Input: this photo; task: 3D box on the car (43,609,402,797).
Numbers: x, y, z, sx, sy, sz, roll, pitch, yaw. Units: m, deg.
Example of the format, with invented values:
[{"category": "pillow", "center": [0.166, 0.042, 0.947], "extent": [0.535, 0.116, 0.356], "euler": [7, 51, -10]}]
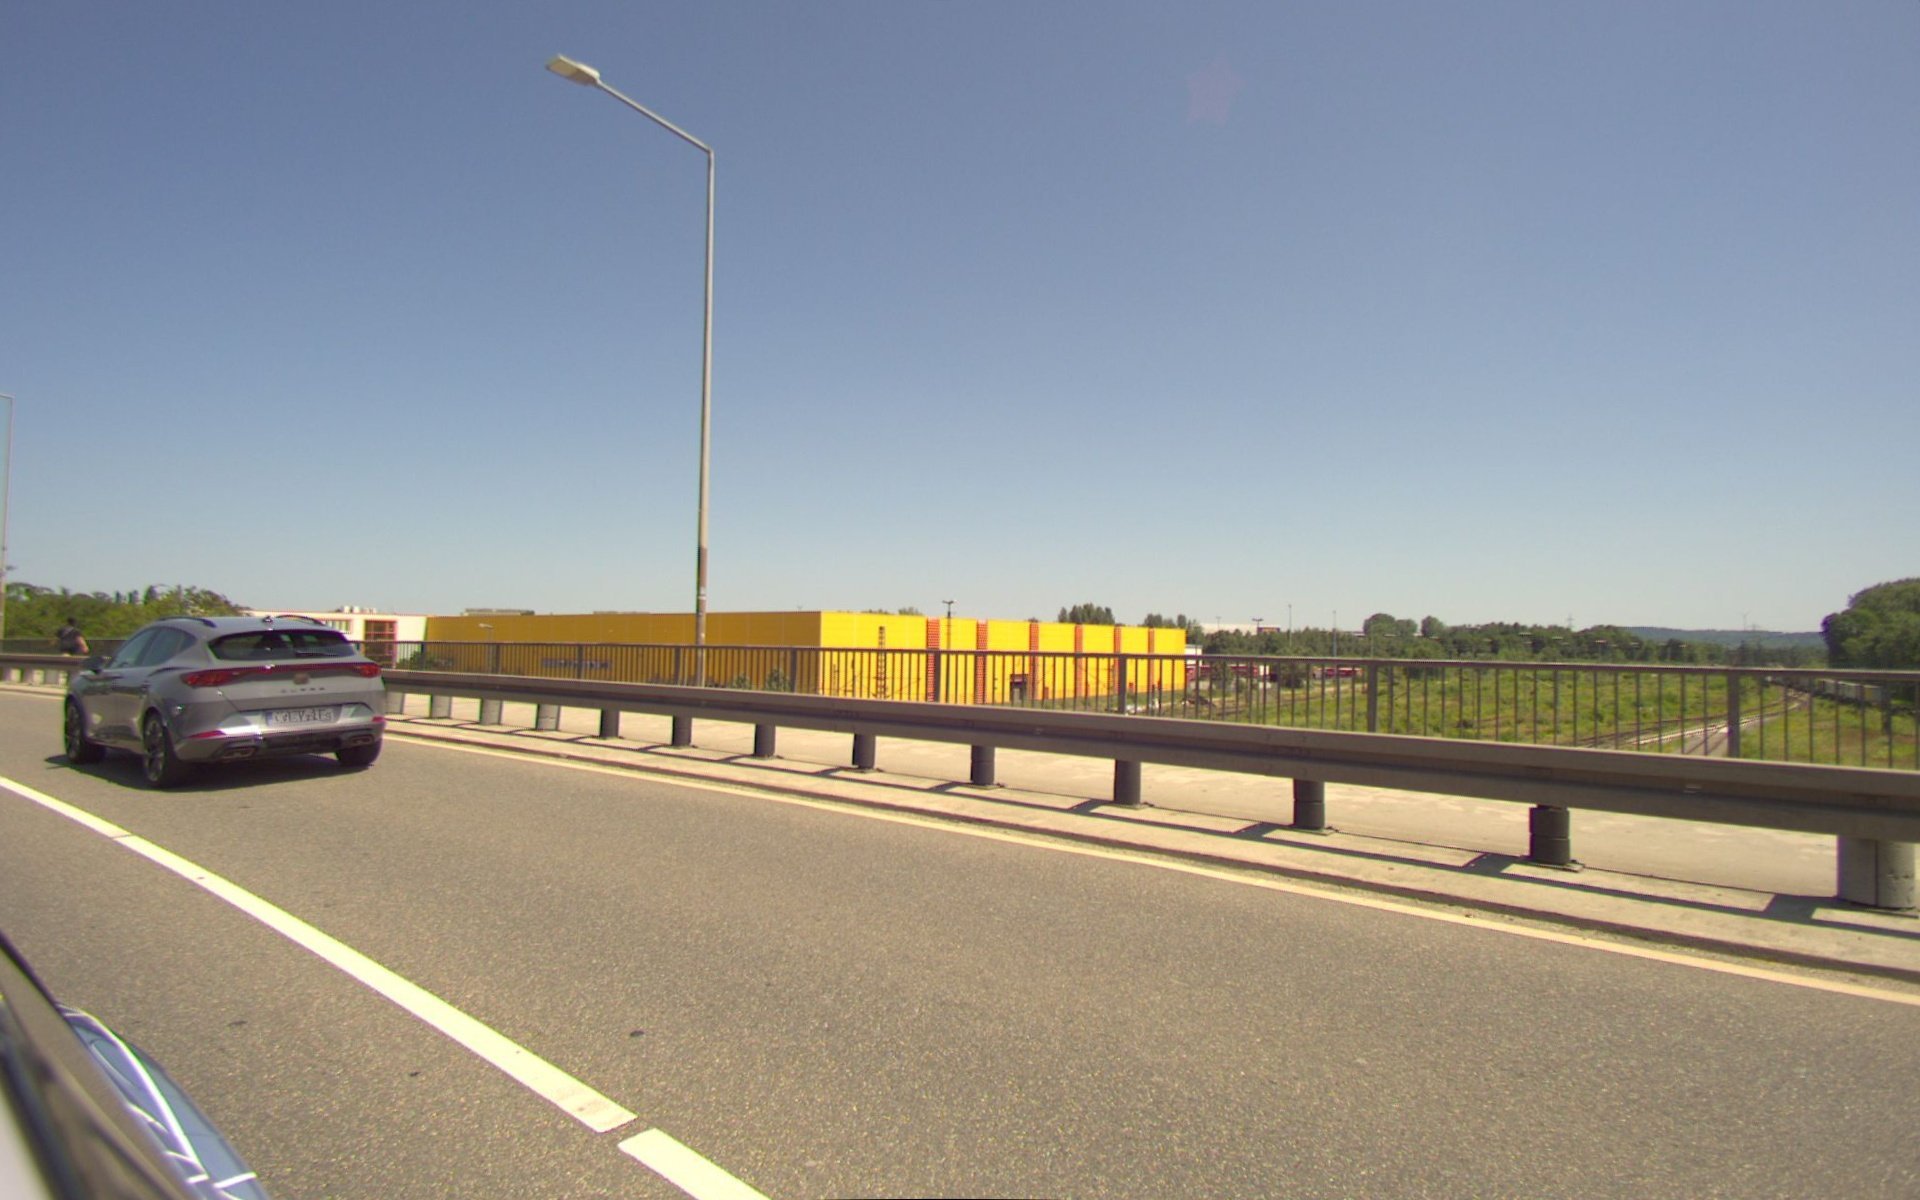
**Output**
[{"category": "car", "center": [-7.501, 0.882, 10.160], "extent": [4.186, 1.519, 1.759], "euler": [-1, -2, 37]}]
